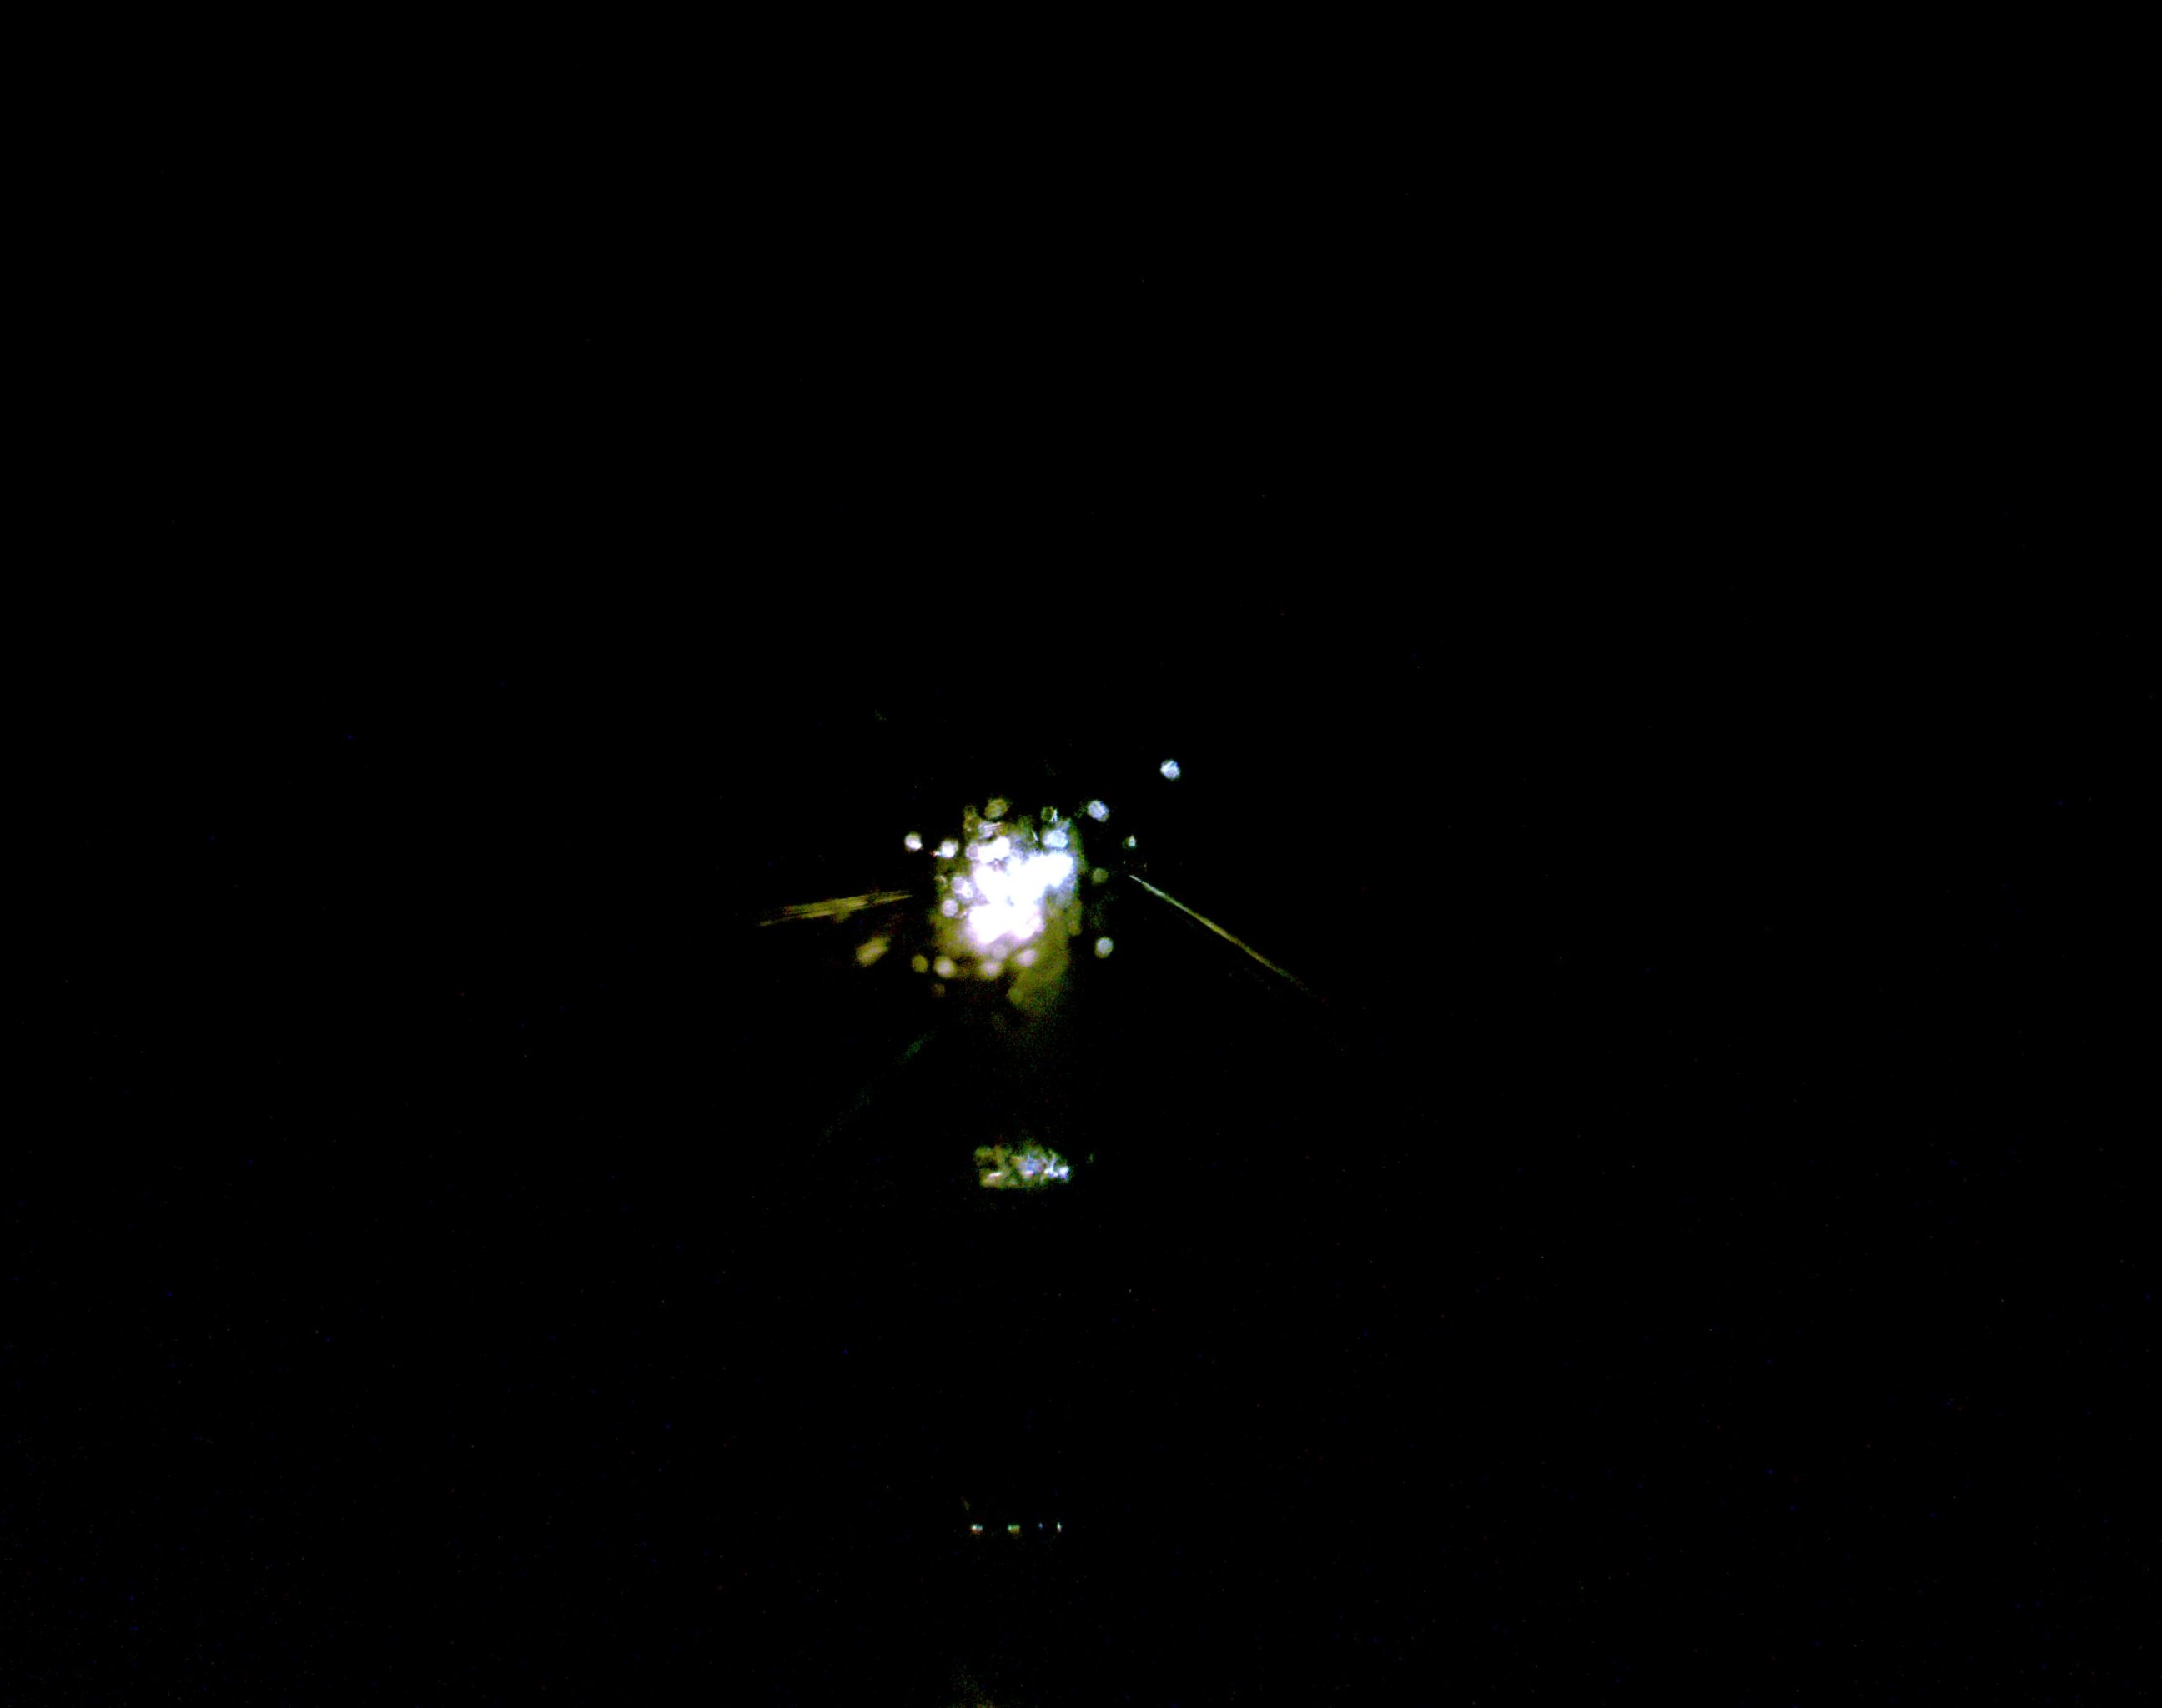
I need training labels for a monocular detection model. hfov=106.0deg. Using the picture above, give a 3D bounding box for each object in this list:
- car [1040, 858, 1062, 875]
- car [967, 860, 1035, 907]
[{"bbox_3d":[-2.947,1.214,81.026,1.987,1.612,4.097,-3,-1,0],"label":"car"},{"bbox_3d":[-2.795,1.009,29.320,1.987,1.457,4.097,-3,-1,0],"label":"car"}]
